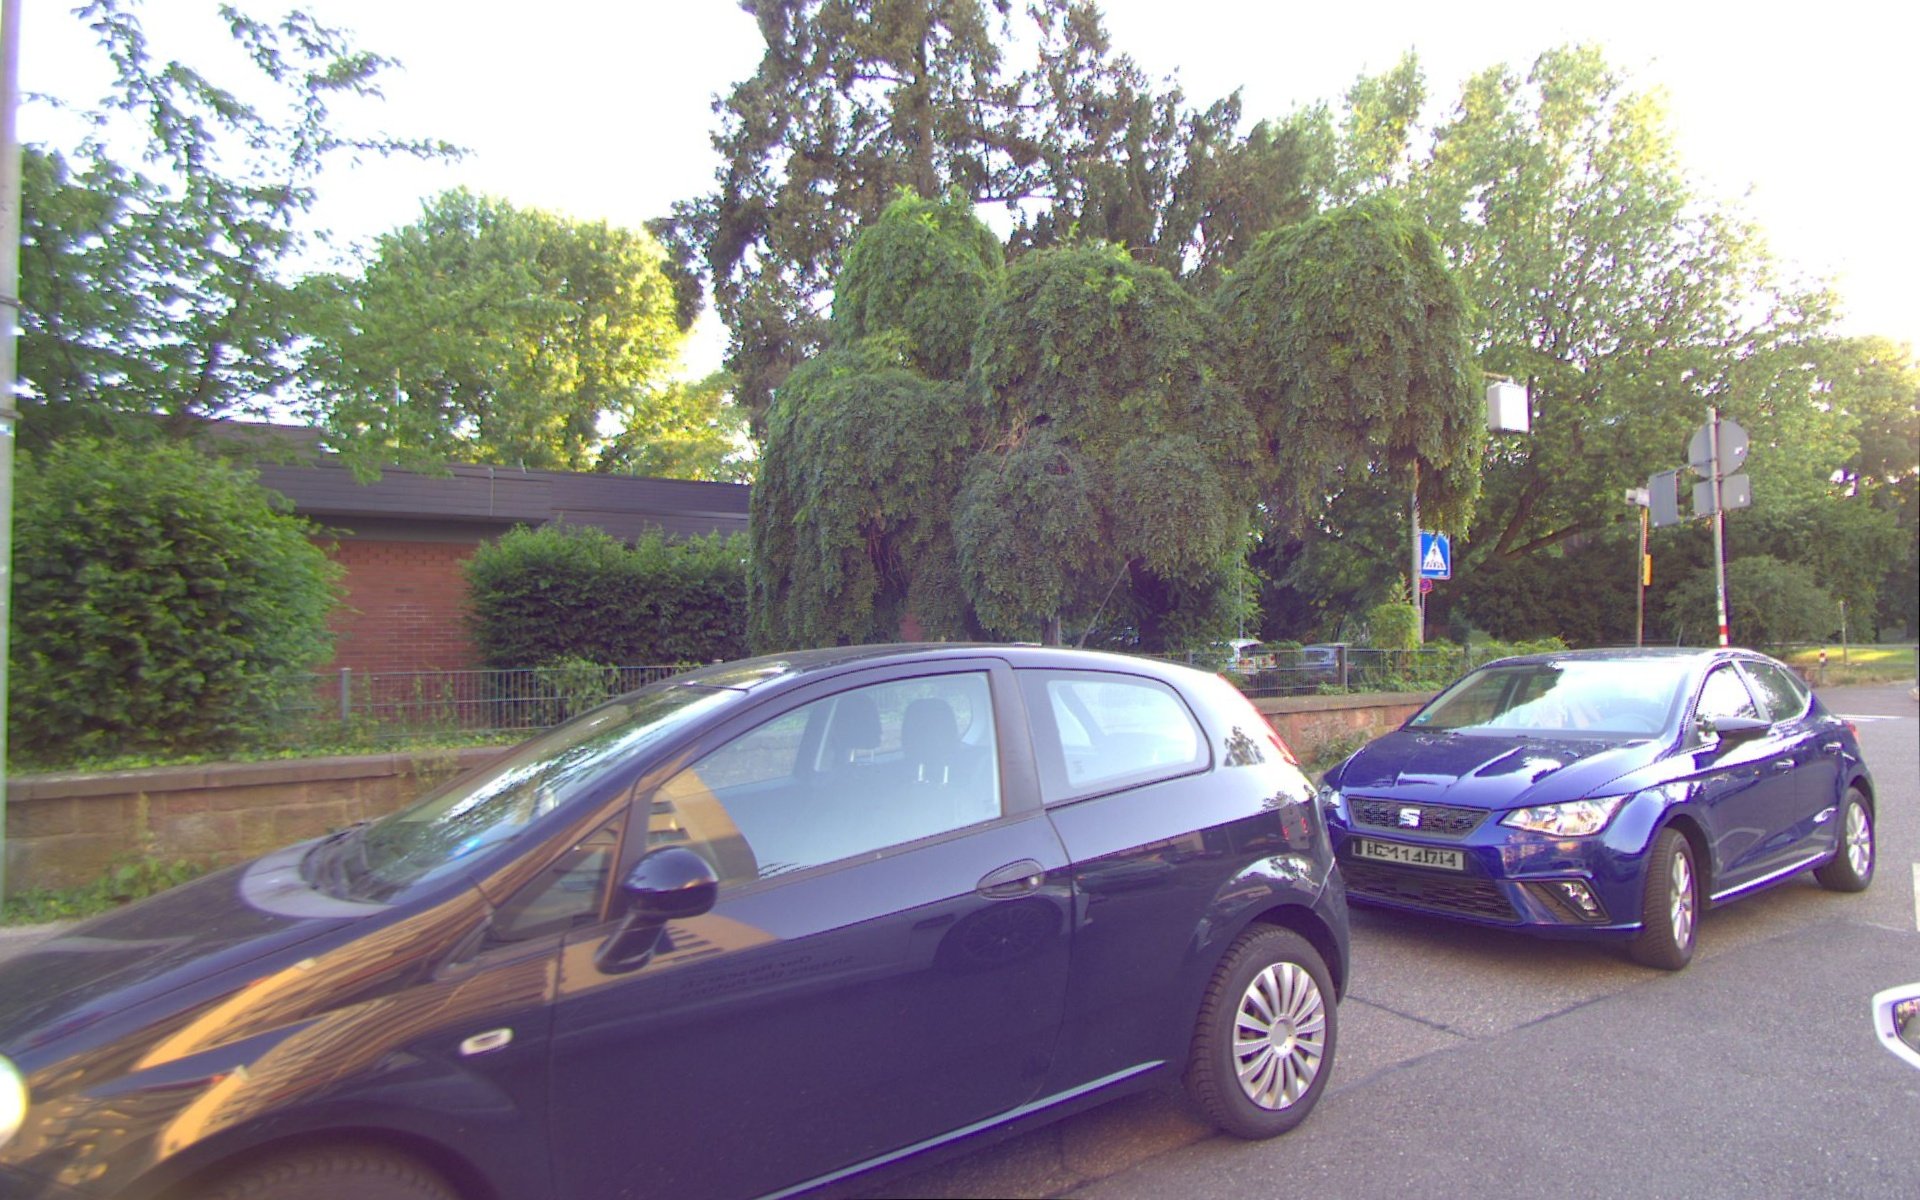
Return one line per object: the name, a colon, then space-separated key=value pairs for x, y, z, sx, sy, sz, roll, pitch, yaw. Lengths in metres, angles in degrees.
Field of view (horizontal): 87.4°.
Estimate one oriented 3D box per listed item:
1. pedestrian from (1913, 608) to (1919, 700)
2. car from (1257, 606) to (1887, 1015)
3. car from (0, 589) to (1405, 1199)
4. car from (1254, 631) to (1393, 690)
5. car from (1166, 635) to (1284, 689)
pedestrian: x=19.483 y=1.070 z=19.989 sx=0.613 sy=1.833 sz=0.590 roll=0 pitch=-1 yaw=-30
car: x=3.617 y=0.890 z=5.747 sx=3.754 sy=1.587 sz=1.722 roll=1 pitch=-4 yaw=-36
car: x=-0.576 y=0.845 z=2.940 sx=3.659 sy=1.587 sz=1.723 roll=1 pitch=-4 yaw=-34
car: x=11.166 y=1.853 z=31.131 sx=1.798 sy=1.511 sz=3.843 roll=-6 pitch=0 yaw=-24
car: x=9.299 y=2.191 z=35.507 sx=1.800 sy=1.583 sz=3.856 roll=-6 pitch=0 yaw=-27
